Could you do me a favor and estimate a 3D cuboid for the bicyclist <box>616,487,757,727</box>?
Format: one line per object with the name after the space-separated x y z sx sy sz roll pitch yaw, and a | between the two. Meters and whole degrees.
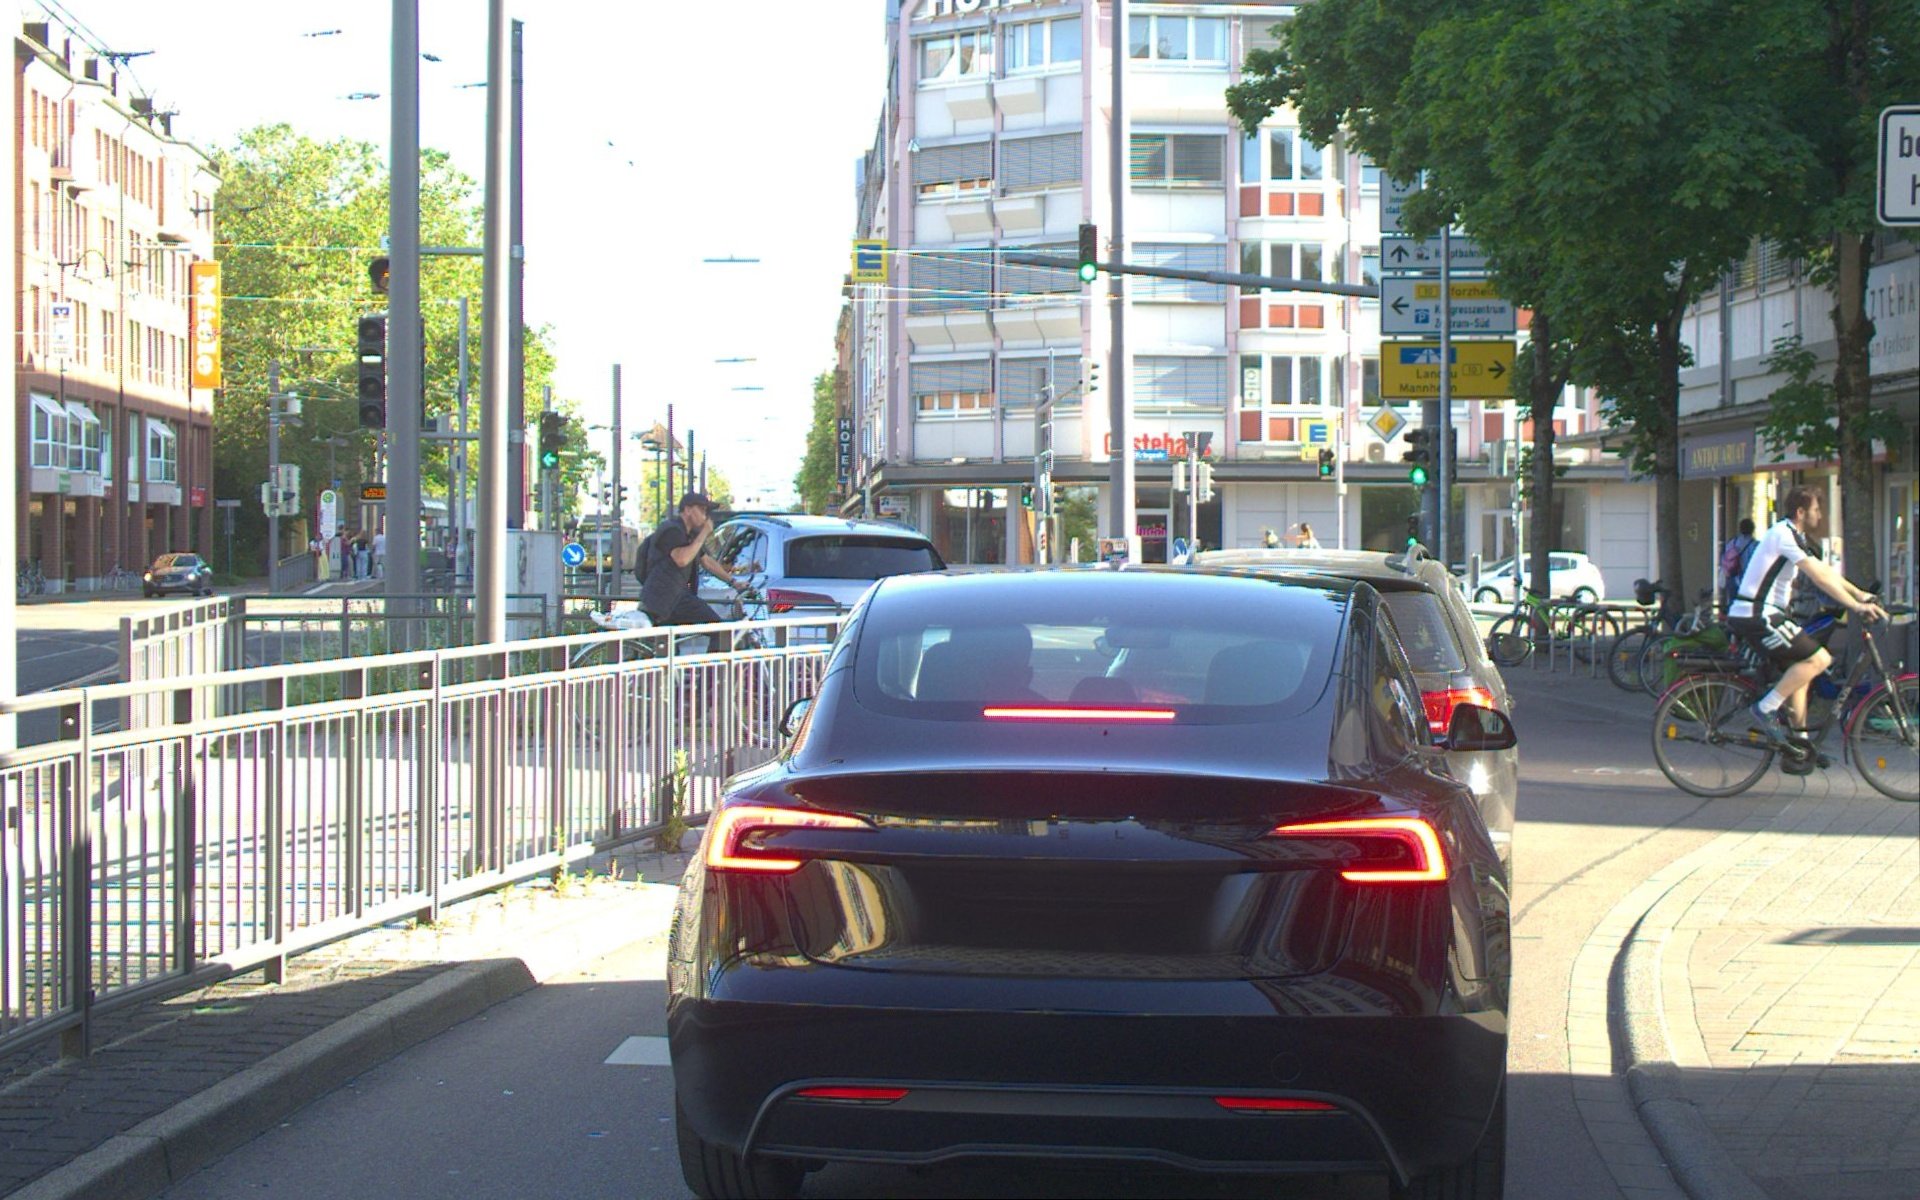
-1.774 0.042 22.268 0.681 1.518 0.635 1 0 -31 | bicyclist

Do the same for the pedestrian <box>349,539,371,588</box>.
-19.032 -1.161 109.089 0.583 1.525 0.638 1 0 -17 | pedestrian

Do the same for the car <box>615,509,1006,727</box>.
-1.265 0.116 27.664 1.839 1.629 3.486 1 1 -27 | car

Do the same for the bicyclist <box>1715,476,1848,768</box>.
4.679 0.116 19.568 0.681 1.625 0.578 1 0 17 | bicyclist

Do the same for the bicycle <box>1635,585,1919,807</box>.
4.793 0.530 19.517 1.821 1.207 0.582 1 0 17 | bicycle

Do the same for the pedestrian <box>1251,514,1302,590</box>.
6.634 -1.011 72.128 0.779 1.571 0.868 1 2 -15 | pedestrian

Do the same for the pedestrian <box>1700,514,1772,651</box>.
9.848 -0.229 43.662 0.843 1.715 0.879 1 0 11 | pedestrian

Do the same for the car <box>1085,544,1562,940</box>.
1.528 0.495 15.194 1.765 1.439 4.528 1 1 4 | car

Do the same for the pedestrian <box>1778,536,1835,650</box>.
10.669 -0.093 43.358 0.645 1.417 0.621 1 0 11 | pedestrian

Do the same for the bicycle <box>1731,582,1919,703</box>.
7.980 0.383 31.334 1.849 1.052 0.399 -1 1 -11 | bicycle

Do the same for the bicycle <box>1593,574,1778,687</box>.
7.450 0.312 35.309 1.809 1.147 0.435 0 0 -4 | bicycle

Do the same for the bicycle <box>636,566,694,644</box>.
-4.751 0.073 55.315 0.626 1.219 2.041 1 1 -13 | bicycle

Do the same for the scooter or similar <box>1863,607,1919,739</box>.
7.619 0.572 27.098 0.956 1.035 0.160 0 1 3 | scooter or similar

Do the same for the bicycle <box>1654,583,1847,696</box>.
7.655 0.378 33.333 1.767 1.053 0.458 1 0 5 | bicycle

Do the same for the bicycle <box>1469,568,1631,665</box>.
7.280 0.205 42.454 1.890 1.152 0.480 -1 0 0 | bicycle

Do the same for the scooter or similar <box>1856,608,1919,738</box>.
7.625 0.580 27.299 0.964 1.023 0.160 0 1 3 | scooter or similar

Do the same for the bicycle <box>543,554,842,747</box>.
-1.727 0.318 22.299 1.820 1.207 0.642 0 0 -31 | bicycle

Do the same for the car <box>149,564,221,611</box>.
-25.291 -0.422 112.283 1.817 1.449 3.978 -1 1 -6 | car

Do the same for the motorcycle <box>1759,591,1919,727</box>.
7.746 0.503 29.181 1.787 1.126 0.504 1 0 -2 | motorcycle

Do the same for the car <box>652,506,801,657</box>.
-2.599 -0.218 38.855 1.572 1.612 3.784 1 1 -3 | car

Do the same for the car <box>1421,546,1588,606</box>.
13.677 -0.598 86.464 3.840 1.427 1.804 0 -1 -5 | car

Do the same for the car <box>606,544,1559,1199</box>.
0.327 0.618 8.501 1.790 1.446 3.939 1 2 3 | car

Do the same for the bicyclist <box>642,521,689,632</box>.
-4.736 -0.381 55.217 0.612 1.765 0.831 1 0 -13 | bicyclist

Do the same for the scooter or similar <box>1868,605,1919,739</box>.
7.614 0.562 26.900 0.964 1.039 0.160 0 1 3 | scooter or similar

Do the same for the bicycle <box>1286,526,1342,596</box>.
7.441 -0.826 72.343 0.582 1.458 1.686 0 1 -16 | bicycle
